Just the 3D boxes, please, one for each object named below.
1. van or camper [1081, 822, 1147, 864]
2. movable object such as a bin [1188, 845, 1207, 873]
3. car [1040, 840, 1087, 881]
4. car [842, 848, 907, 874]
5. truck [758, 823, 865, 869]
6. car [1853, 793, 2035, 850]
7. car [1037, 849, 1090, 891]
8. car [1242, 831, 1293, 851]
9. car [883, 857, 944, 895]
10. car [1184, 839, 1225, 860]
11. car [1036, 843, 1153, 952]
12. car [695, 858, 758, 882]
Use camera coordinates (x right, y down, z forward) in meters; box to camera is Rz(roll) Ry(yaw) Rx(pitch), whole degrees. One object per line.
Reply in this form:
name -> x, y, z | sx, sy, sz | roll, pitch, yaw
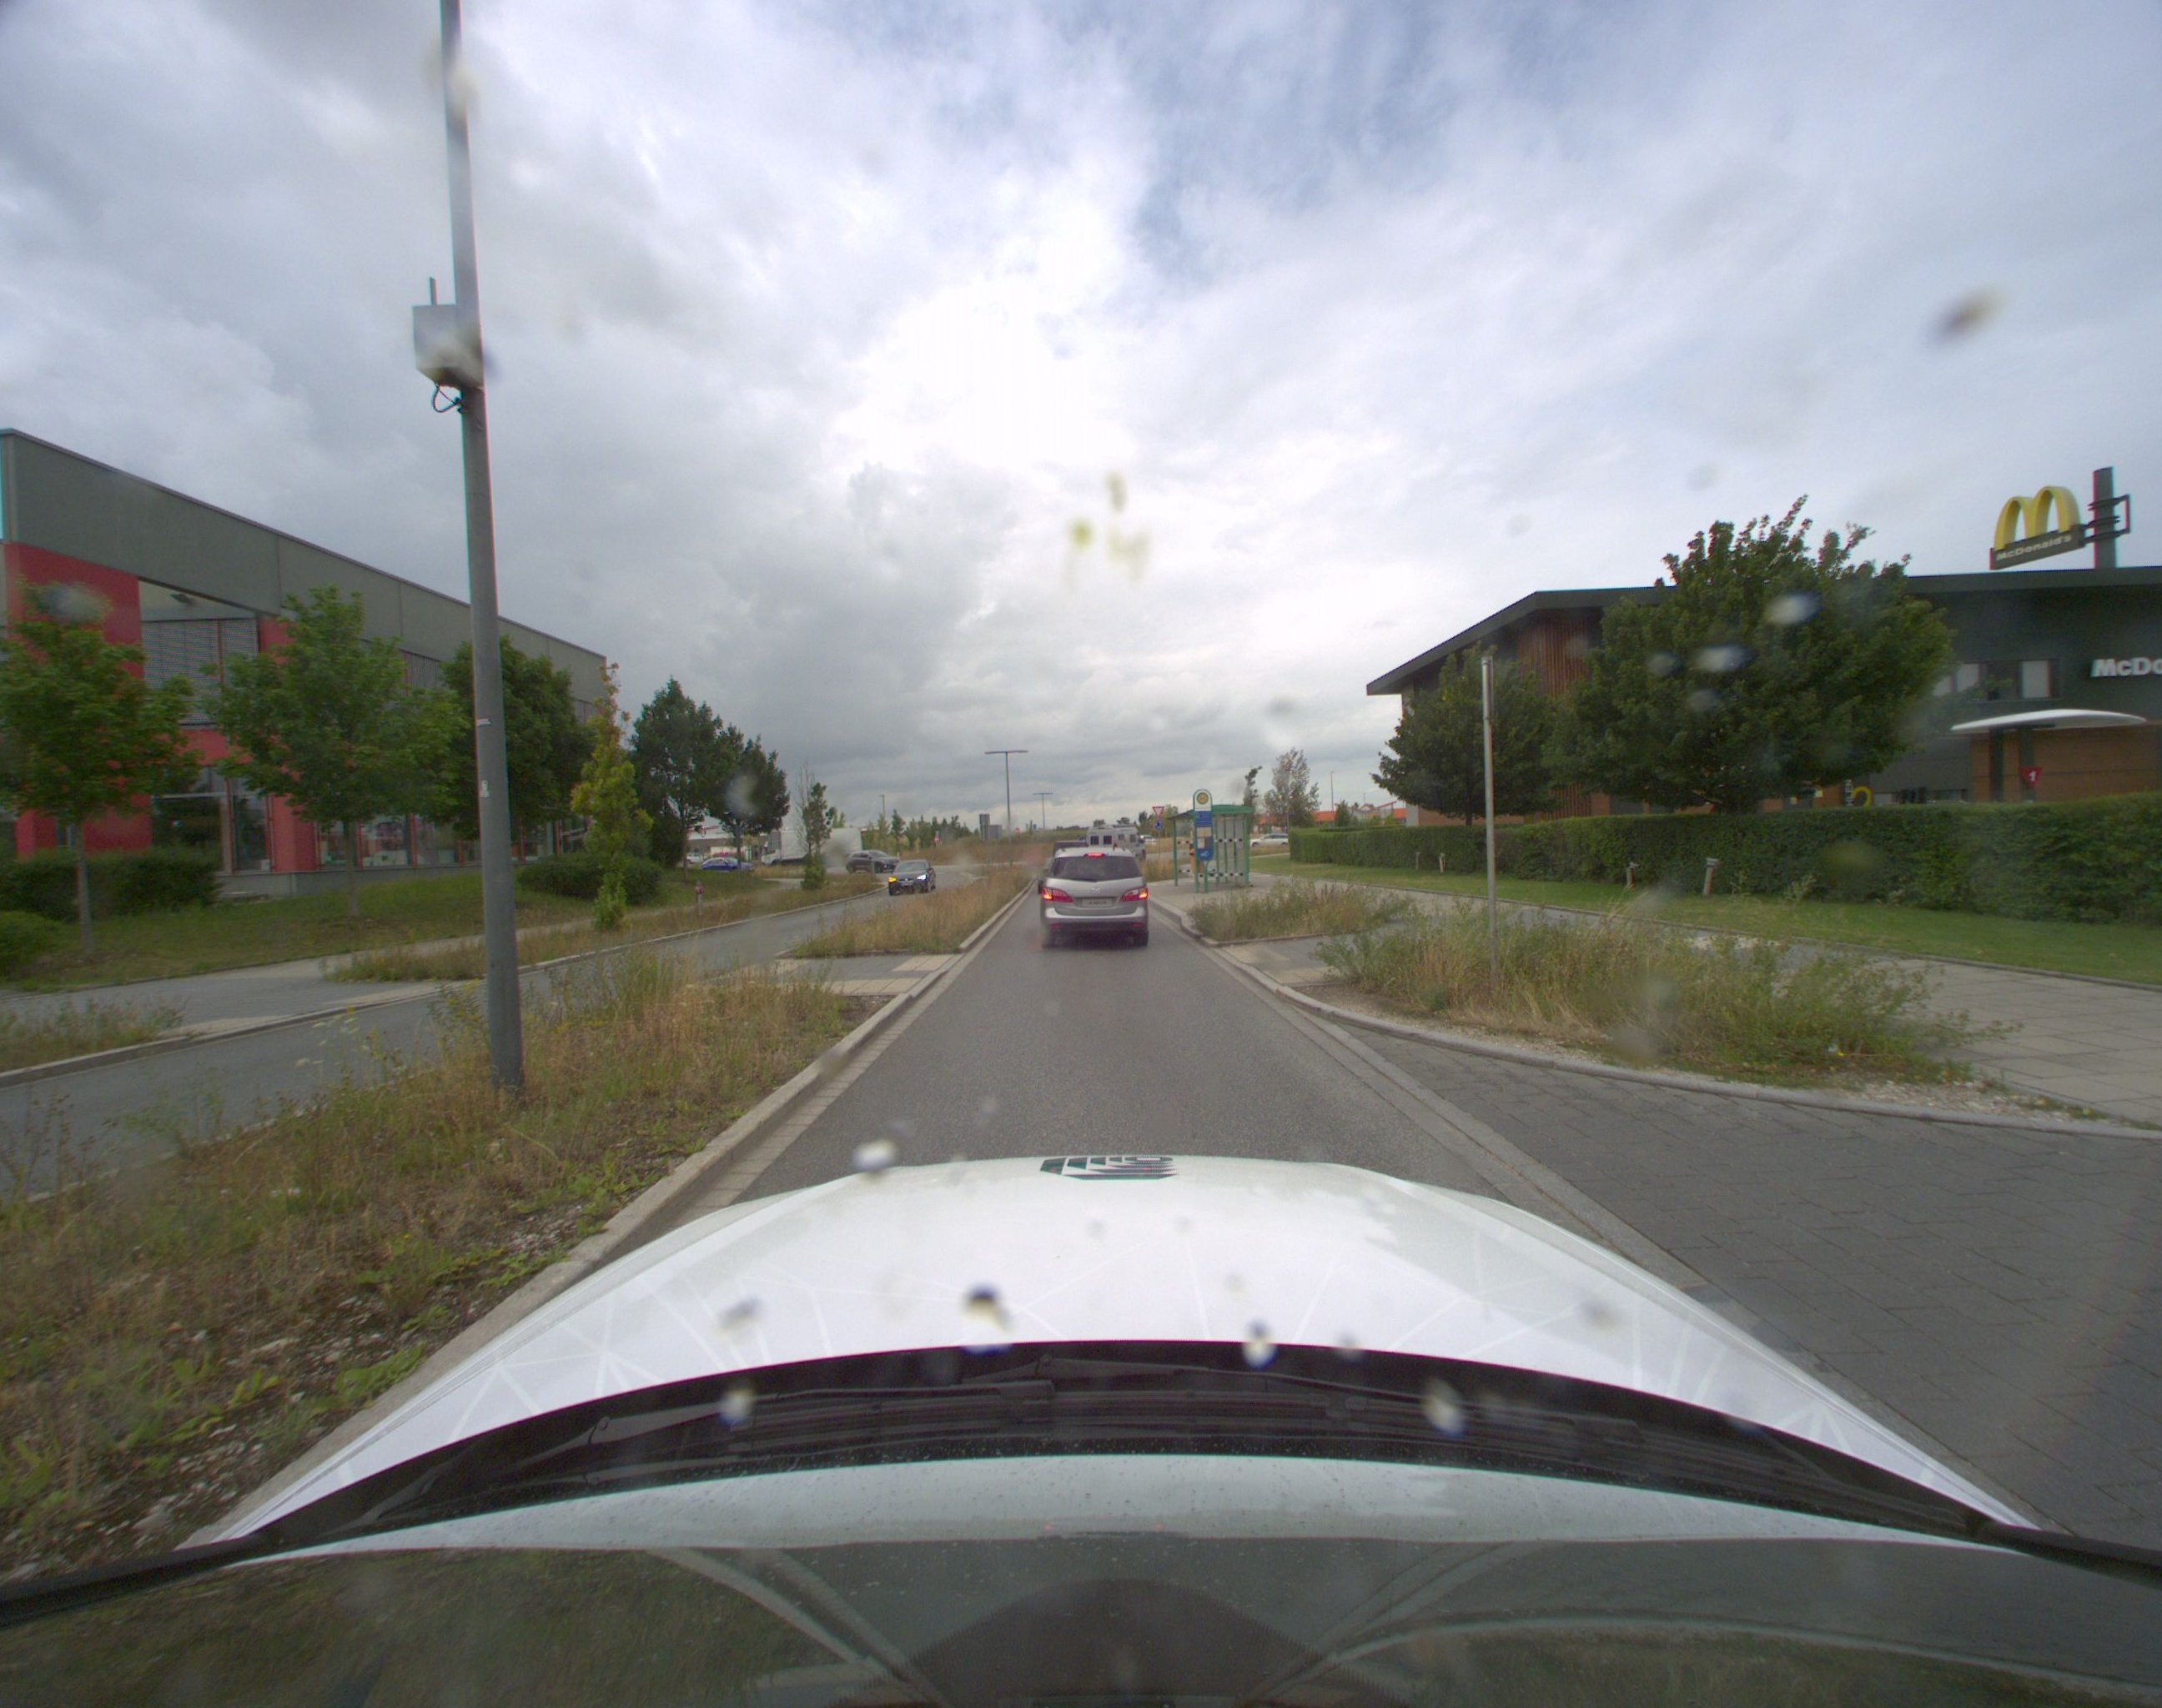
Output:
van or camper -> 2.175, -0.717, 51.475 | 2.282, 2.506, 5.236 | -1, 1, 25
movable object such as a bin -> 3.445, 0.146, 24.082 | 0.455, 0.798, 0.380 | -2, 0, -2
car -> -0.786, 0.287, 39.793 | 2.051, 1.825, 4.787 | -2, 0, 1
car -> -14.311, 0.491, 56.380 | 4.149, 1.592, 2.079 | -3, 1, 34
truck -> -25.466, -0.791, 77.010 | 9.344, 3.906, 3.120 | -3, 0, -23
car -> 28.592, -1.065, 27.075 | 3.975, 1.717, 1.999 | -2, 1, -1
car -> -0.598, 0.572, 31.447 | 1.838, 1.418, 4.225 | -2, 1, 1
car -> 17.546, -1.204, 76.716 | 4.574, 1.757, 2.005 | -2, 0, 9
car -> -7.422, 0.940, 36.504 | 1.836, 1.407, 3.998 | -4, 0, -1
car -> 9.813, -0.401, 64.653 | 1.975, 1.515, 4.024 | -2, 0, 27
car -> 0.139, 0.627, 14.141 | 1.725, 1.600, 3.804 | -1, 1, -2
car -> -27.542, 1.263, 63.350 | 4.182, 1.528, 1.855 | -4, 0, 16
